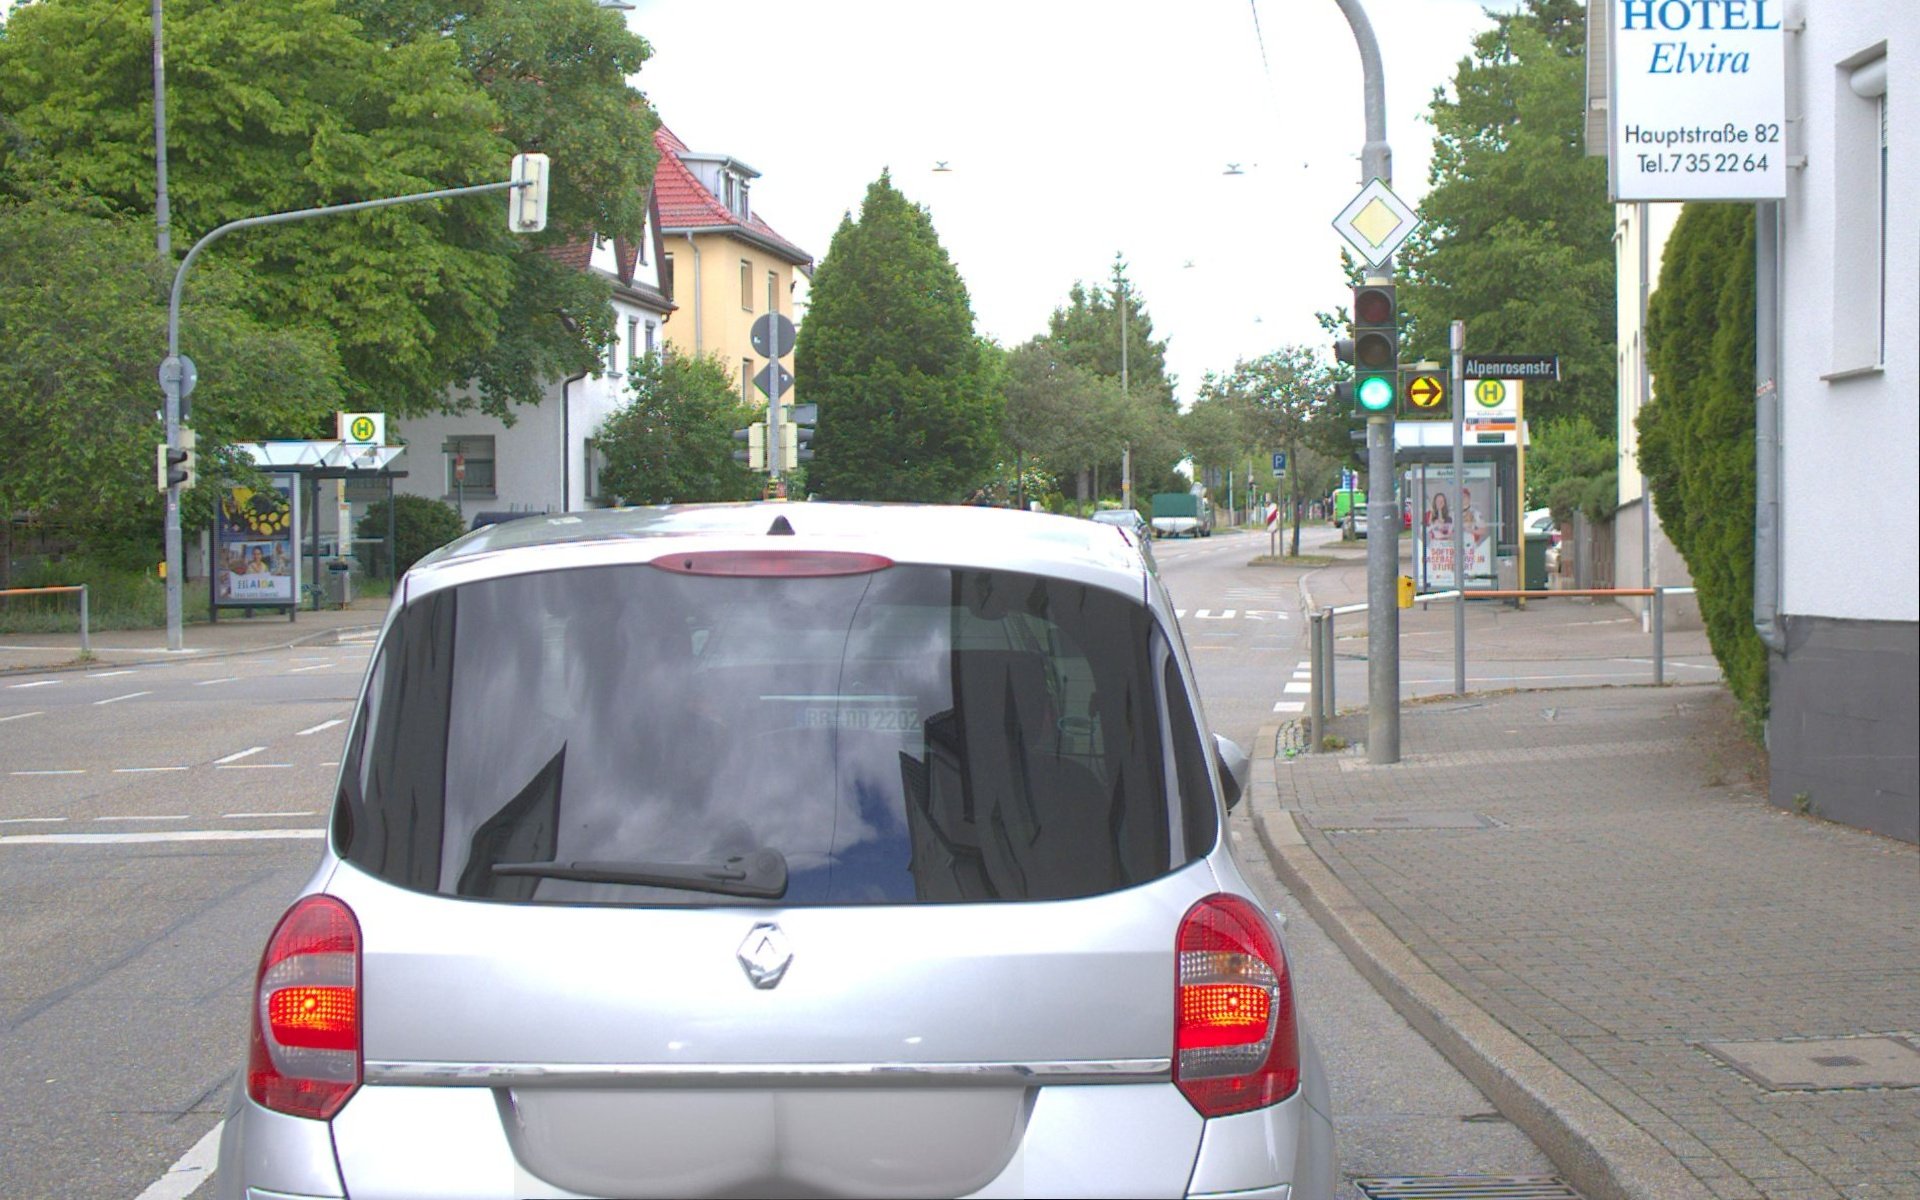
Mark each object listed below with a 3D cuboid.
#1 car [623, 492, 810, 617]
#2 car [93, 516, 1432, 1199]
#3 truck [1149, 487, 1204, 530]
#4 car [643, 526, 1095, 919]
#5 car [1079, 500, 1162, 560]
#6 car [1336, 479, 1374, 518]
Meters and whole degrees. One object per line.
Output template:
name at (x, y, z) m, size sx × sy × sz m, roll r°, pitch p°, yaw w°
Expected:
car at (-3.784, -0.737, 54.182) m, size 1.927 × 1.767 × 3.999 m, roll -4°, pitch 1°, yaw 10°
car at (-0.295, 0.627, 6.526) m, size 1.755 × 1.525 × 4.000 m, roll 0°, pitch 1°, yaw -1°
truck at (10.505, -4.399, 166.496) m, size 2.102 × 2.007 × 5.745 m, roll 0°, pitch 1°, yaw 9°
car at (-0.390, 0.450, 15.309) m, size 1.755 × 1.525 × 3.797 m, roll 0°, pitch 1°, yaw -1°
car at (4.753, -2.052, 101.454) m, size 1.858 × 1.742 × 3.998 m, roll 1°, pitch 1°, yaw 11°
car at (26.548, -6.789, 230.700) m, size 2.060 × 2.503 × 5.593 m, roll 1°, pitch 1°, yaw 11°
